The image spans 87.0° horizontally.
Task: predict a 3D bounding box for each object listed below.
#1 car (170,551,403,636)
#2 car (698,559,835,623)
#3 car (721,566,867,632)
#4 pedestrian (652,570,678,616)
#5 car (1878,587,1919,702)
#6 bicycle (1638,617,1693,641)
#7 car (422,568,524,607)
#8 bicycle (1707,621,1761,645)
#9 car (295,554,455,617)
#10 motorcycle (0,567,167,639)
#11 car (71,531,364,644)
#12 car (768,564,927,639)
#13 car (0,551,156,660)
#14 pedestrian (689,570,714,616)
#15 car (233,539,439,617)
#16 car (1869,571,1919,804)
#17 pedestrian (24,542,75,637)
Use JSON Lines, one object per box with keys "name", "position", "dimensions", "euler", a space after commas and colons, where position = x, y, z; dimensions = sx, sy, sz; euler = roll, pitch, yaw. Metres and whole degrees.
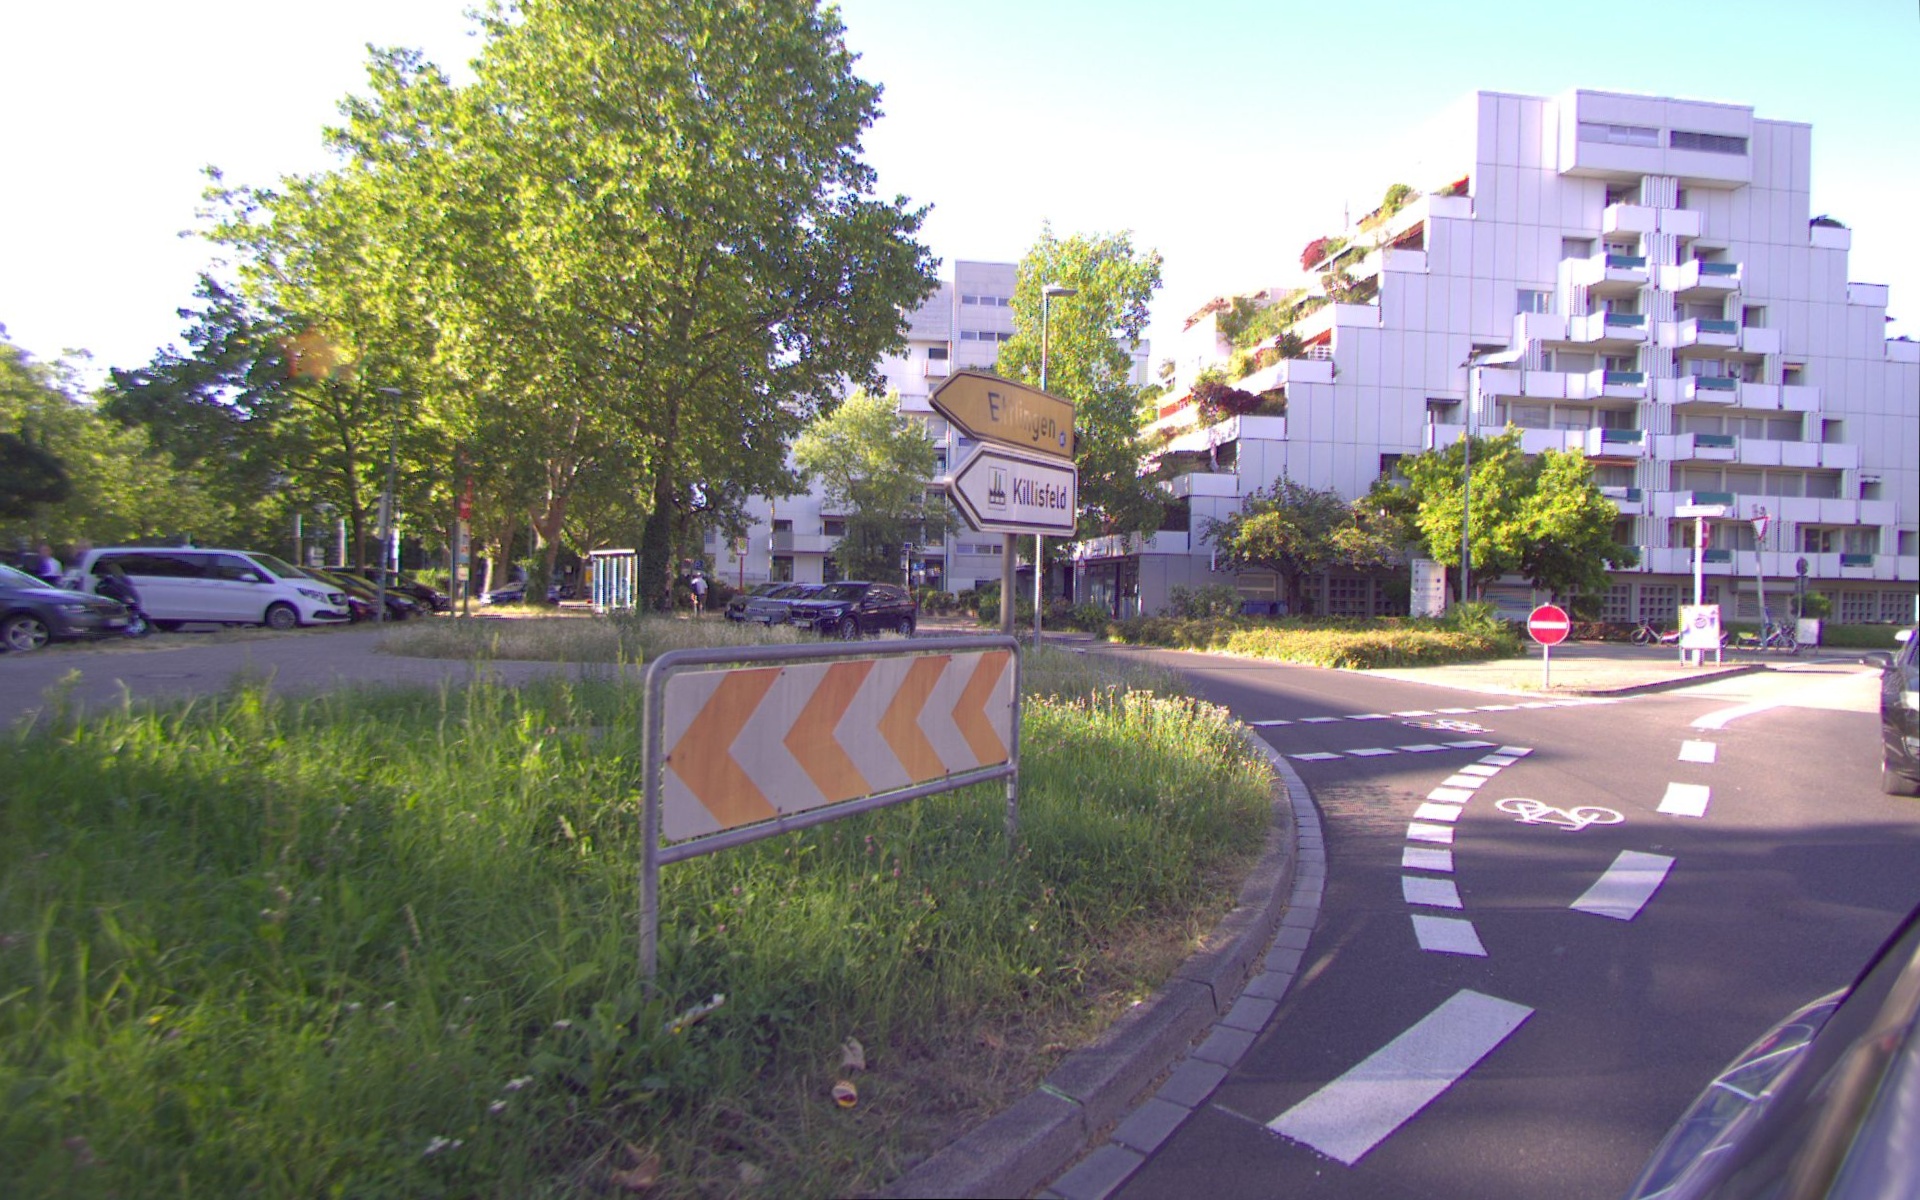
{"name": "car", "position": [-17.422, -0.170, 26.416], "dimensions": [4.537, 1.798, 2.005], "euler": [4, 0, -11]}
{"name": "car", "position": [-5.896, -0.245, 31.282], "dimensions": [1.860, 1.659, 3.950], "euler": [4, -1, 34]}
{"name": "car", "position": [-4.603, 0.031, 28.742], "dimensions": [1.811, 1.607, 4.326], "euler": [4, 0, 27]}
{"name": "pedestrian", "position": [-10.901, -0.259, 37.385], "dimensions": [0.620, 1.683, 0.742], "euler": [1, 1, -43]}
{"name": "car", "position": [14.165, 0.612, 13.549], "dimensions": [3.462, 1.472, 1.658], "euler": [1, 1, -27]}
{"name": "bicycle", "position": [26.975, 1.124, 38.730], "dimensions": [1.672, 0.848, 0.463], "euler": [1, 0, 8]}
{"name": "car", "position": [-23.697, -0.639, 49.351], "dimensions": [1.993, 1.821, 4.047], "euler": [0, 1, 43]}
{"name": "bicycle", "position": [29.120, 1.233, 38.078], "dimensions": [1.569, 0.794, 0.457], "euler": [2, 1, 41]}
{"name": "car", "position": [-20.142, -0.484, 34.977], "dimensions": [4.541, 1.798, 2.004], "euler": [4, 0, -31]}
{"name": "motorcycle", "position": [-16.246, 0.051, 18.727], "dimensions": [2.268, 1.264, 0.954], "euler": [1, 1, -15]}
{"name": "car", "position": [-16.897, -0.266, 23.305], "dimensions": [4.947, 2.123, 2.005], "euler": [4, 0, -11]}
{"name": "car", "position": [-2.822, 0.090, 26.431], "dimensions": [1.921, 1.680, 4.433], "euler": [4, 0, 27]}
{"name": "car", "position": [-15.485, -0.001, 16.007], "dimensions": [3.903, 1.542, 1.679], "euler": [4, 0, -16]}
{"name": "pedestrian", "position": [-9.539, -0.266, 37.345], "dimensions": [0.712, 1.683, 0.745], "euler": [1, 0, -2]}
{"name": "car", "position": [-17.749, -0.616, 29.019], "dimensions": [4.537, 1.798, 2.005], "euler": [4, 0, -11]}
{"name": "car", "position": [8.490, 0.615, 7.998], "dimensions": [1.838, 1.565, 4.456], "euler": [0, -1, 41]}
{"name": "pedestrian", "position": [-17.326, -0.206, 19.265], "dimensions": [0.521, 1.773, 0.562], "euler": [-1, 0, -16]}
